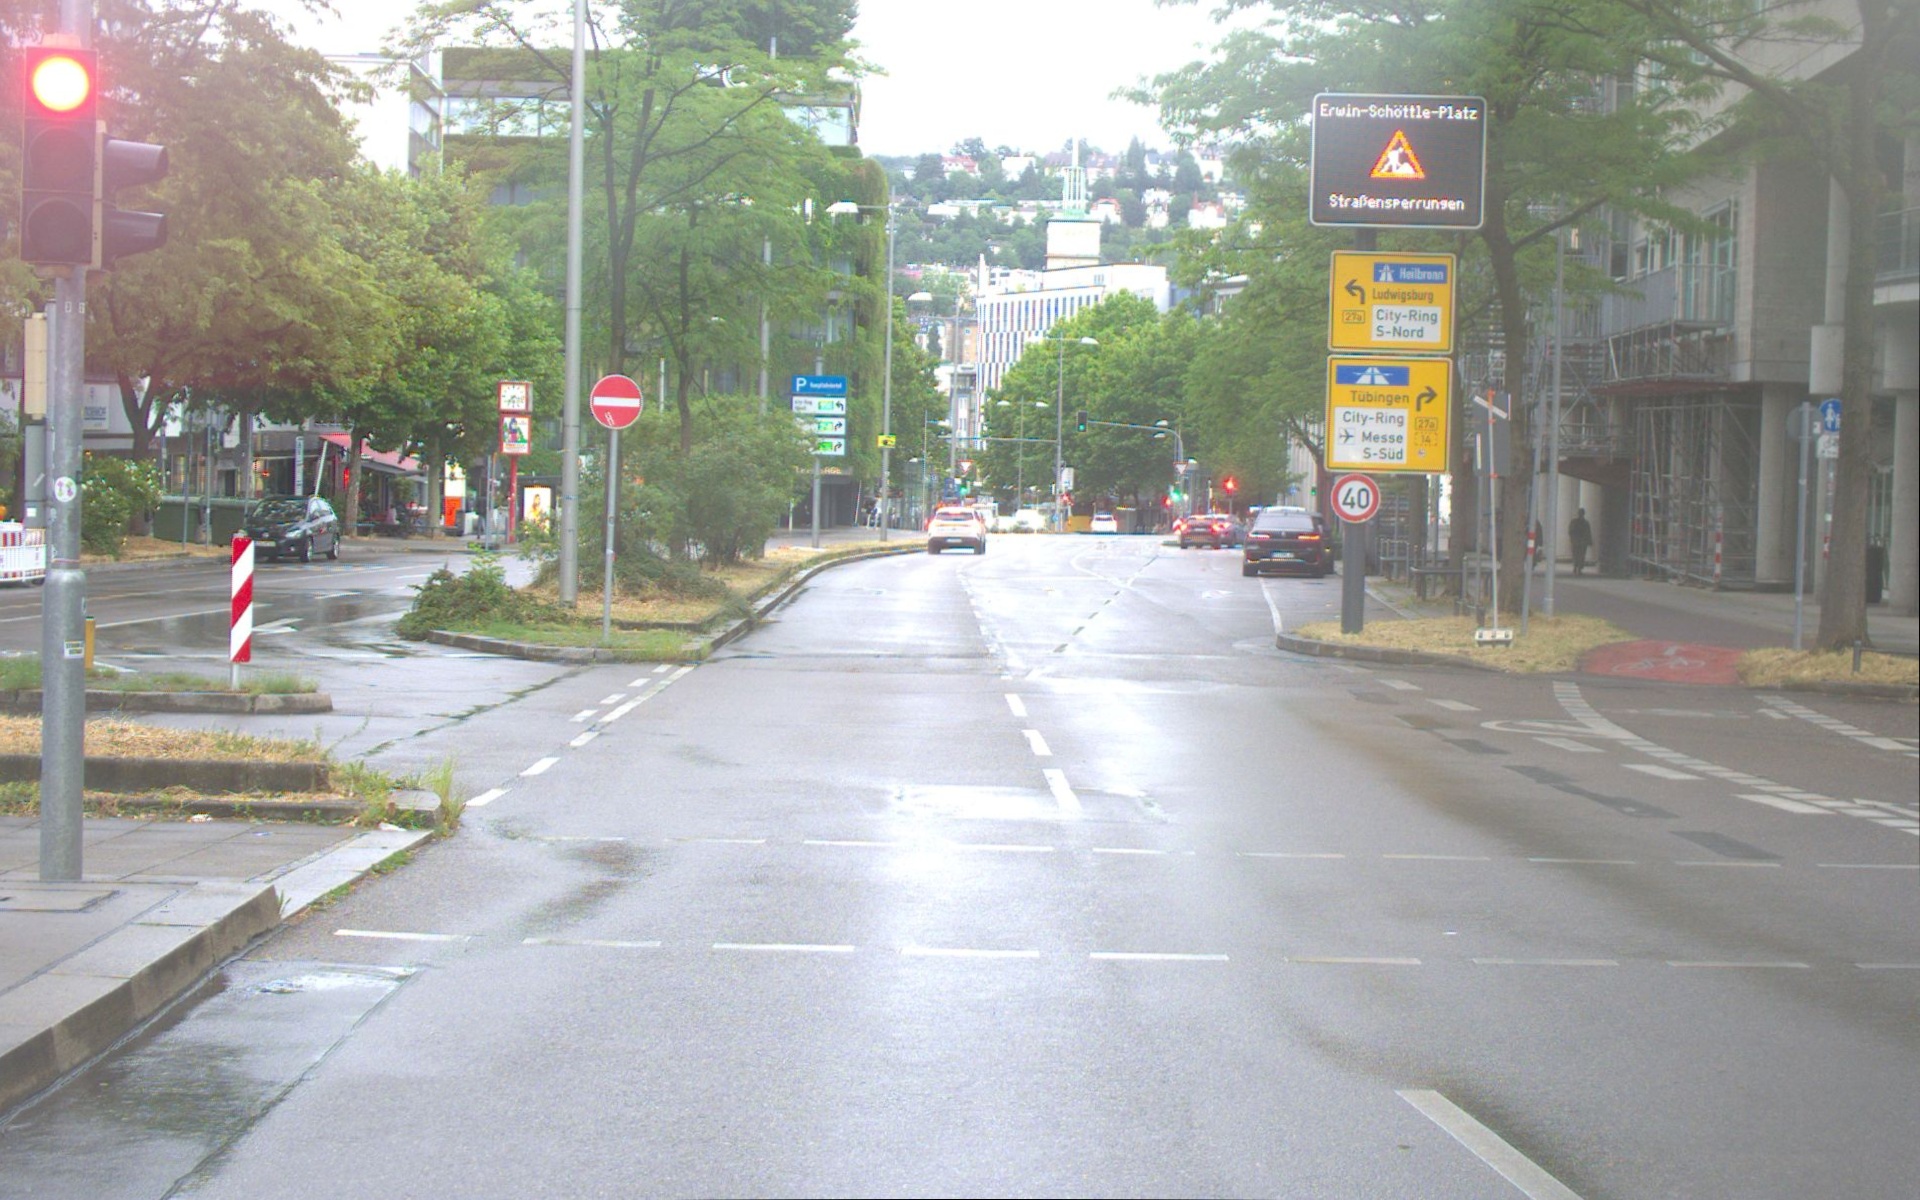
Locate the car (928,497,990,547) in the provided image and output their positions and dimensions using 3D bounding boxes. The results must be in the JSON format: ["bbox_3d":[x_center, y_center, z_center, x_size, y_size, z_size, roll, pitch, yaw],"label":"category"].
[{"bbox_3d":[-0.026,-2.698,120.100,1.829,1.634,4.300,2,1,4],"label":"car"}]

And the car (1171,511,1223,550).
[{"bbox_3d":[10.703,-3.134,155.592,1.993,1.718,4.000,1,0,-1],"label":"car"}]

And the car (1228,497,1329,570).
[{"bbox_3d":[7.755,-1.626,83.432,2.339,1.685,3.999,1,2,6],"label":"car"}]

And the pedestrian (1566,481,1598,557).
[{"bbox_3d":[15.898,-2.067,87.918,0.775,1.914,0.702,1,0,10],"label":"pedestrian"}]

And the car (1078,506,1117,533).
[{"bbox_3d":[9.292,-5.451,232.255,1.993,1.752,4.001,2,1,-6],"label":"car"}]

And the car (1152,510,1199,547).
[{"bbox_3d":[10.443,-3.445,166.808,1.993,1.730,4.000,1,0,-1],"label":"car"}]

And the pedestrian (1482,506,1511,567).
[{"bbox_3d":[17.004,-2.010,108.957,0.775,1.914,0.702,1,0,-1],"label":"pedestrian"}]
